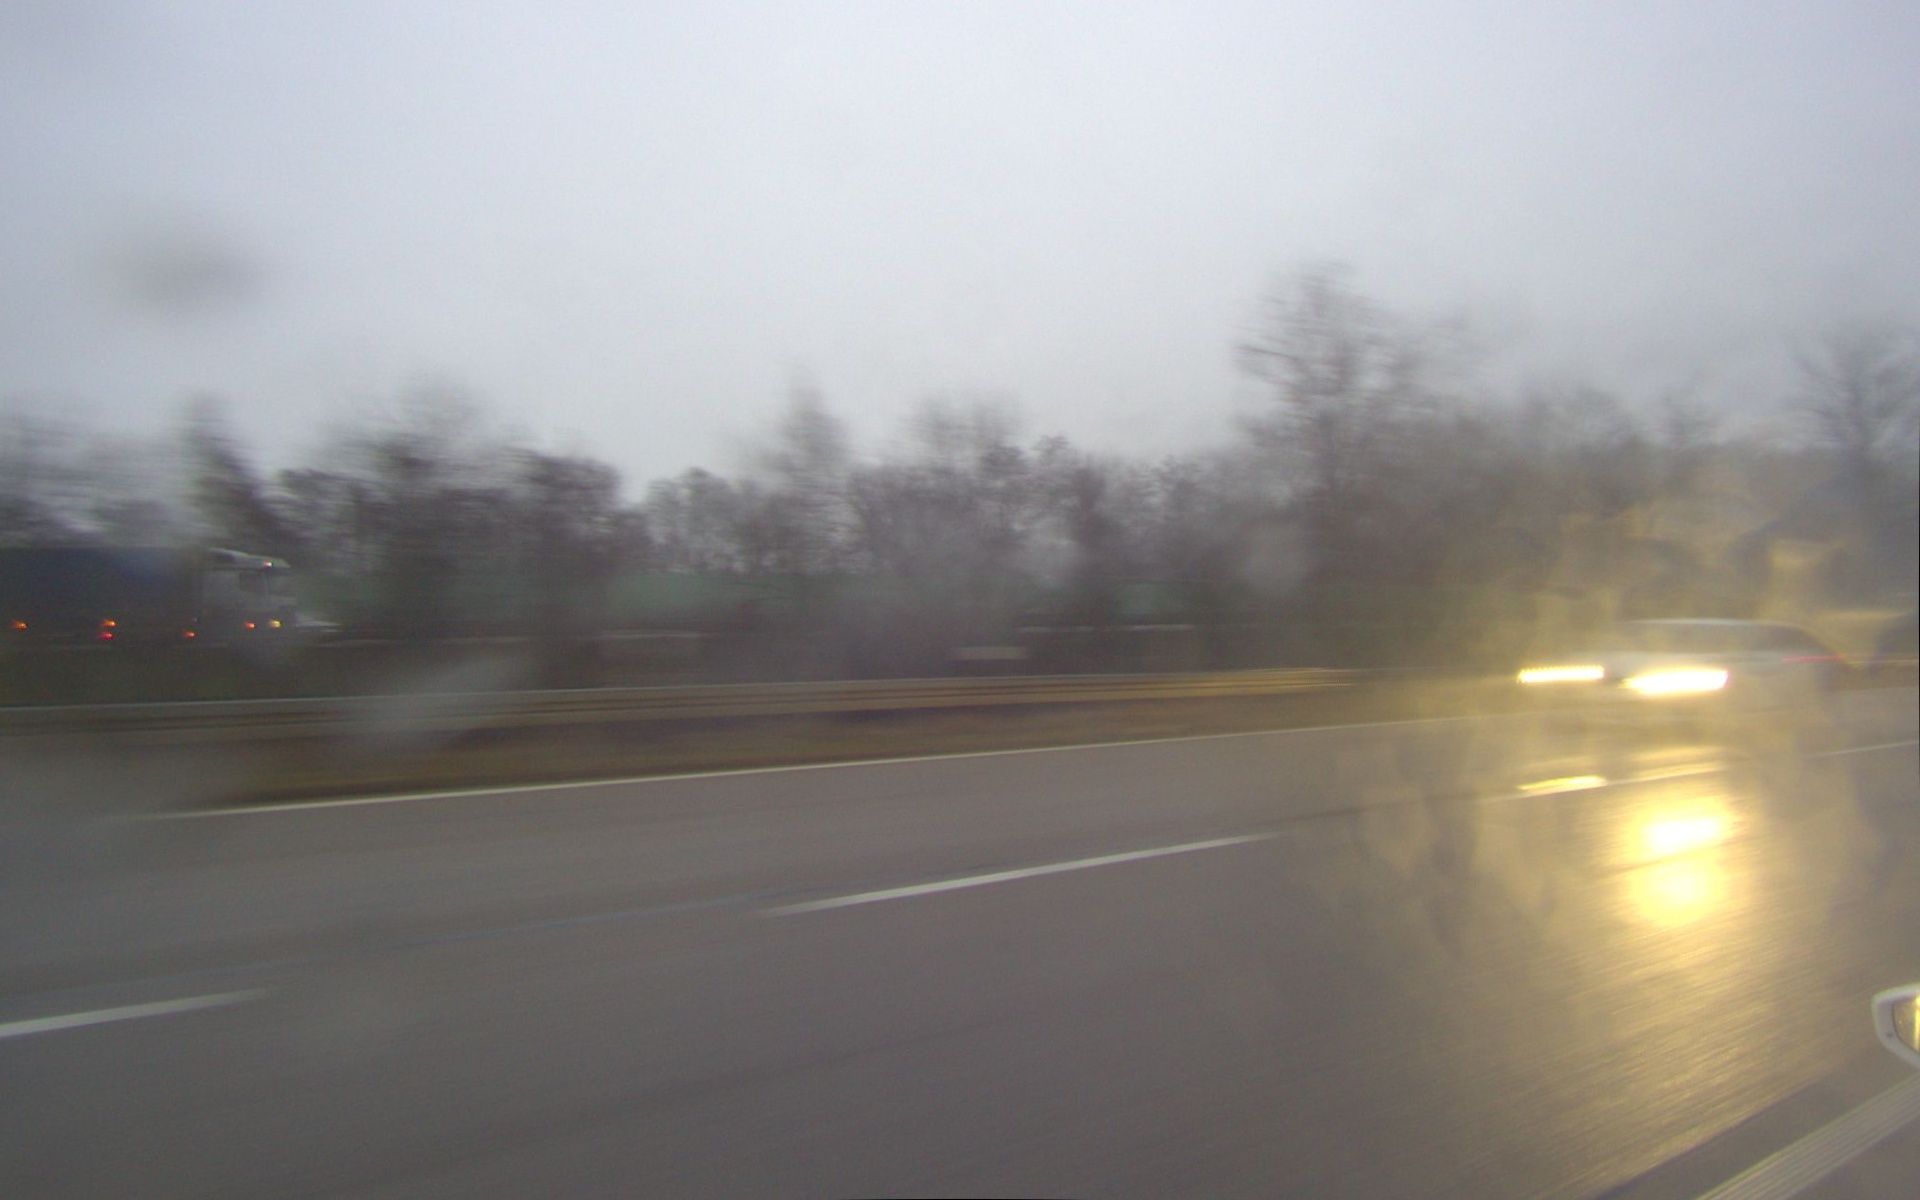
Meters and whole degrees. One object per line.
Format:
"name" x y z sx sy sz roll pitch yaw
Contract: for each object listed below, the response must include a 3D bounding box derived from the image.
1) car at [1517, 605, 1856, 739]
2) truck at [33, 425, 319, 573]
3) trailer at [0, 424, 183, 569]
"car" 9.662 0.861 13.319 4.328 1.510 1.985 1 0 -29
"truck" -31.515 -3.917 40.878 8.375 5.197 3.277 1 -1 -14
"trailer" -38.721 -4.088 39.096 13.003 5.170 3.304 1 -2 -14
